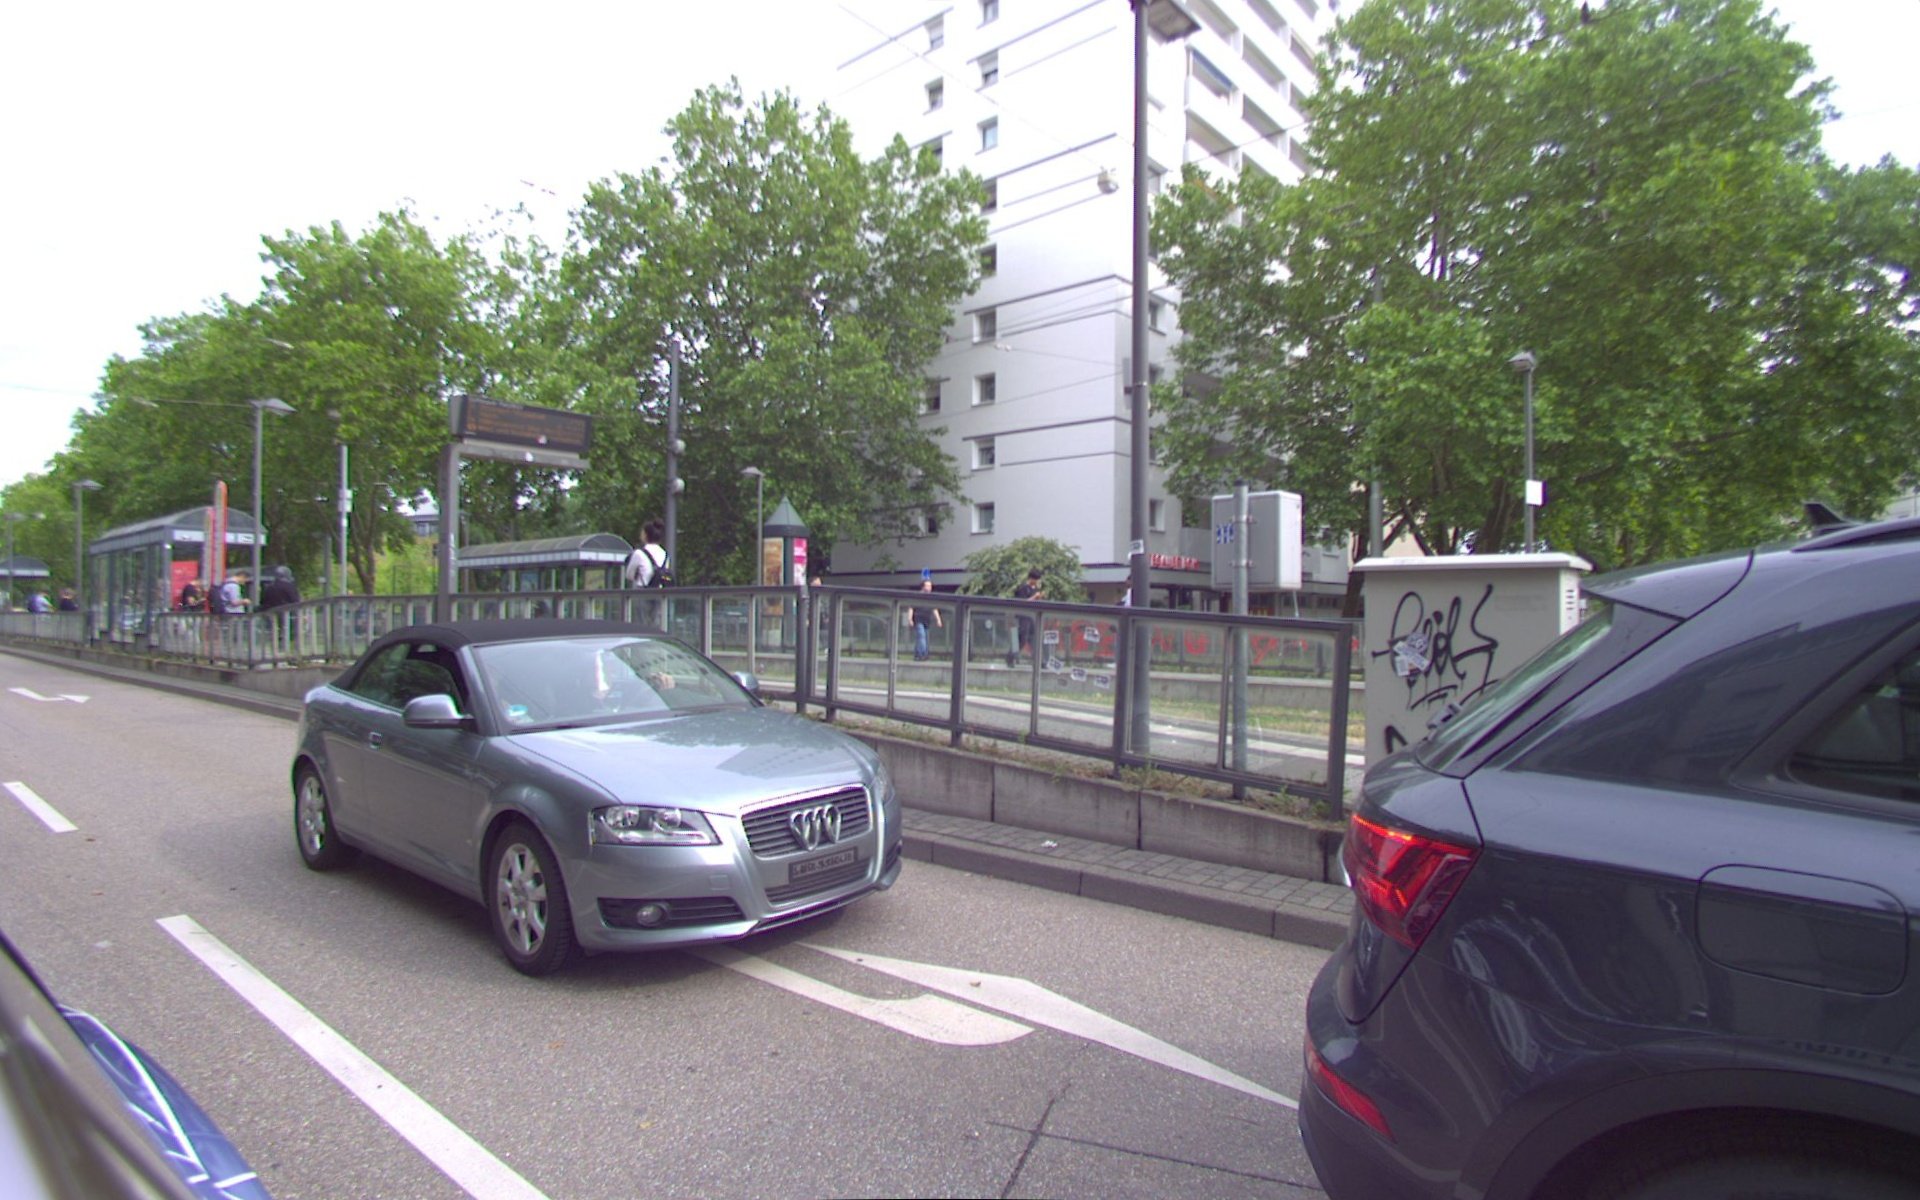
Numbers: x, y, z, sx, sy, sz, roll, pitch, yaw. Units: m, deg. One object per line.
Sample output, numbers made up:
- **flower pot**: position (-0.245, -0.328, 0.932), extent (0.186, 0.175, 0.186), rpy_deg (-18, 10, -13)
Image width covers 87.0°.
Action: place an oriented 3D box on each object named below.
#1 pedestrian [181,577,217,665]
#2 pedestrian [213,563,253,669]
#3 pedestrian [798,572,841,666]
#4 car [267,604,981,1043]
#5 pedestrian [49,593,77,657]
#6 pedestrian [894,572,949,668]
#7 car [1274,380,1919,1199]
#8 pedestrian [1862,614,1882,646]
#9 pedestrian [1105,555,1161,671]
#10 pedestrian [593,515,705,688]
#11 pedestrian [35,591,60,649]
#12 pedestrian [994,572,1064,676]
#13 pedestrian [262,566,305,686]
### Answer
- **pedestrian**: position (-15.924, 0.426, 21.175), extent (0.467, 1.818, 0.607), rpy_deg (-1, 0, -24)
- **pedestrian**: position (-12.705, 0.273, 17.682), extent (0.605, 1.818, 0.469), rpy_deg (-1, 0, 45)
- **pedestrian**: position (-2.979, 0.395, 21.457), extent (0.553, 1.945, 0.690), rpy_deg (-1, 0, 41)
- **car**: position (-2.001, 0.742, 5.267), extent (4.097, 1.398, 1.694), rpy_deg (-1, 0, 41)
- **pedestrian**: position (-25.567, 0.701, 28.837), extent (0.523, 1.818, 0.607), rpy_deg (-1, 0, -35)
- **pedestrian**: position (-0.760, 0.384, 20.048), extent (0.666, 1.848, 0.871), rpy_deg (-1, 0, 41)
- **car**: position (2.688, 0.543, 0.983), extent (4.225, 1.649, 1.715), rpy_deg (-1, 0, 41)
- **pedestrian**: position (58.891, 1.958, 65.340), extent (0.666, 2.029, 0.670), rpy_deg (-1, 0, 2)
- **pedestrian**: position (3.011, 0.228, 17.633), extent (0.666, 1.965, 0.728), rpy_deg (-1, 0, 41)
- **pedestrian**: position (-3.217, 0.012, 10.454), extent (0.979, 1.683, 0.711), rpy_deg (-1, 0, 44)
- **pedestrian**: position (-29.035, 0.633, 32.200), extent (0.523, 1.818, 0.607), rpy_deg (-1, 0, -35)
- **pedestrian**: position (1.208, 0.405, 17.672), extent (0.850, 1.769, 0.871), rpy_deg (-1, 0, 41)
- **pedestrian**: position (-10.529, 0.395, 15.754), extent (0.513, 1.818, 0.606), rpy_deg (-1, 0, -37)
